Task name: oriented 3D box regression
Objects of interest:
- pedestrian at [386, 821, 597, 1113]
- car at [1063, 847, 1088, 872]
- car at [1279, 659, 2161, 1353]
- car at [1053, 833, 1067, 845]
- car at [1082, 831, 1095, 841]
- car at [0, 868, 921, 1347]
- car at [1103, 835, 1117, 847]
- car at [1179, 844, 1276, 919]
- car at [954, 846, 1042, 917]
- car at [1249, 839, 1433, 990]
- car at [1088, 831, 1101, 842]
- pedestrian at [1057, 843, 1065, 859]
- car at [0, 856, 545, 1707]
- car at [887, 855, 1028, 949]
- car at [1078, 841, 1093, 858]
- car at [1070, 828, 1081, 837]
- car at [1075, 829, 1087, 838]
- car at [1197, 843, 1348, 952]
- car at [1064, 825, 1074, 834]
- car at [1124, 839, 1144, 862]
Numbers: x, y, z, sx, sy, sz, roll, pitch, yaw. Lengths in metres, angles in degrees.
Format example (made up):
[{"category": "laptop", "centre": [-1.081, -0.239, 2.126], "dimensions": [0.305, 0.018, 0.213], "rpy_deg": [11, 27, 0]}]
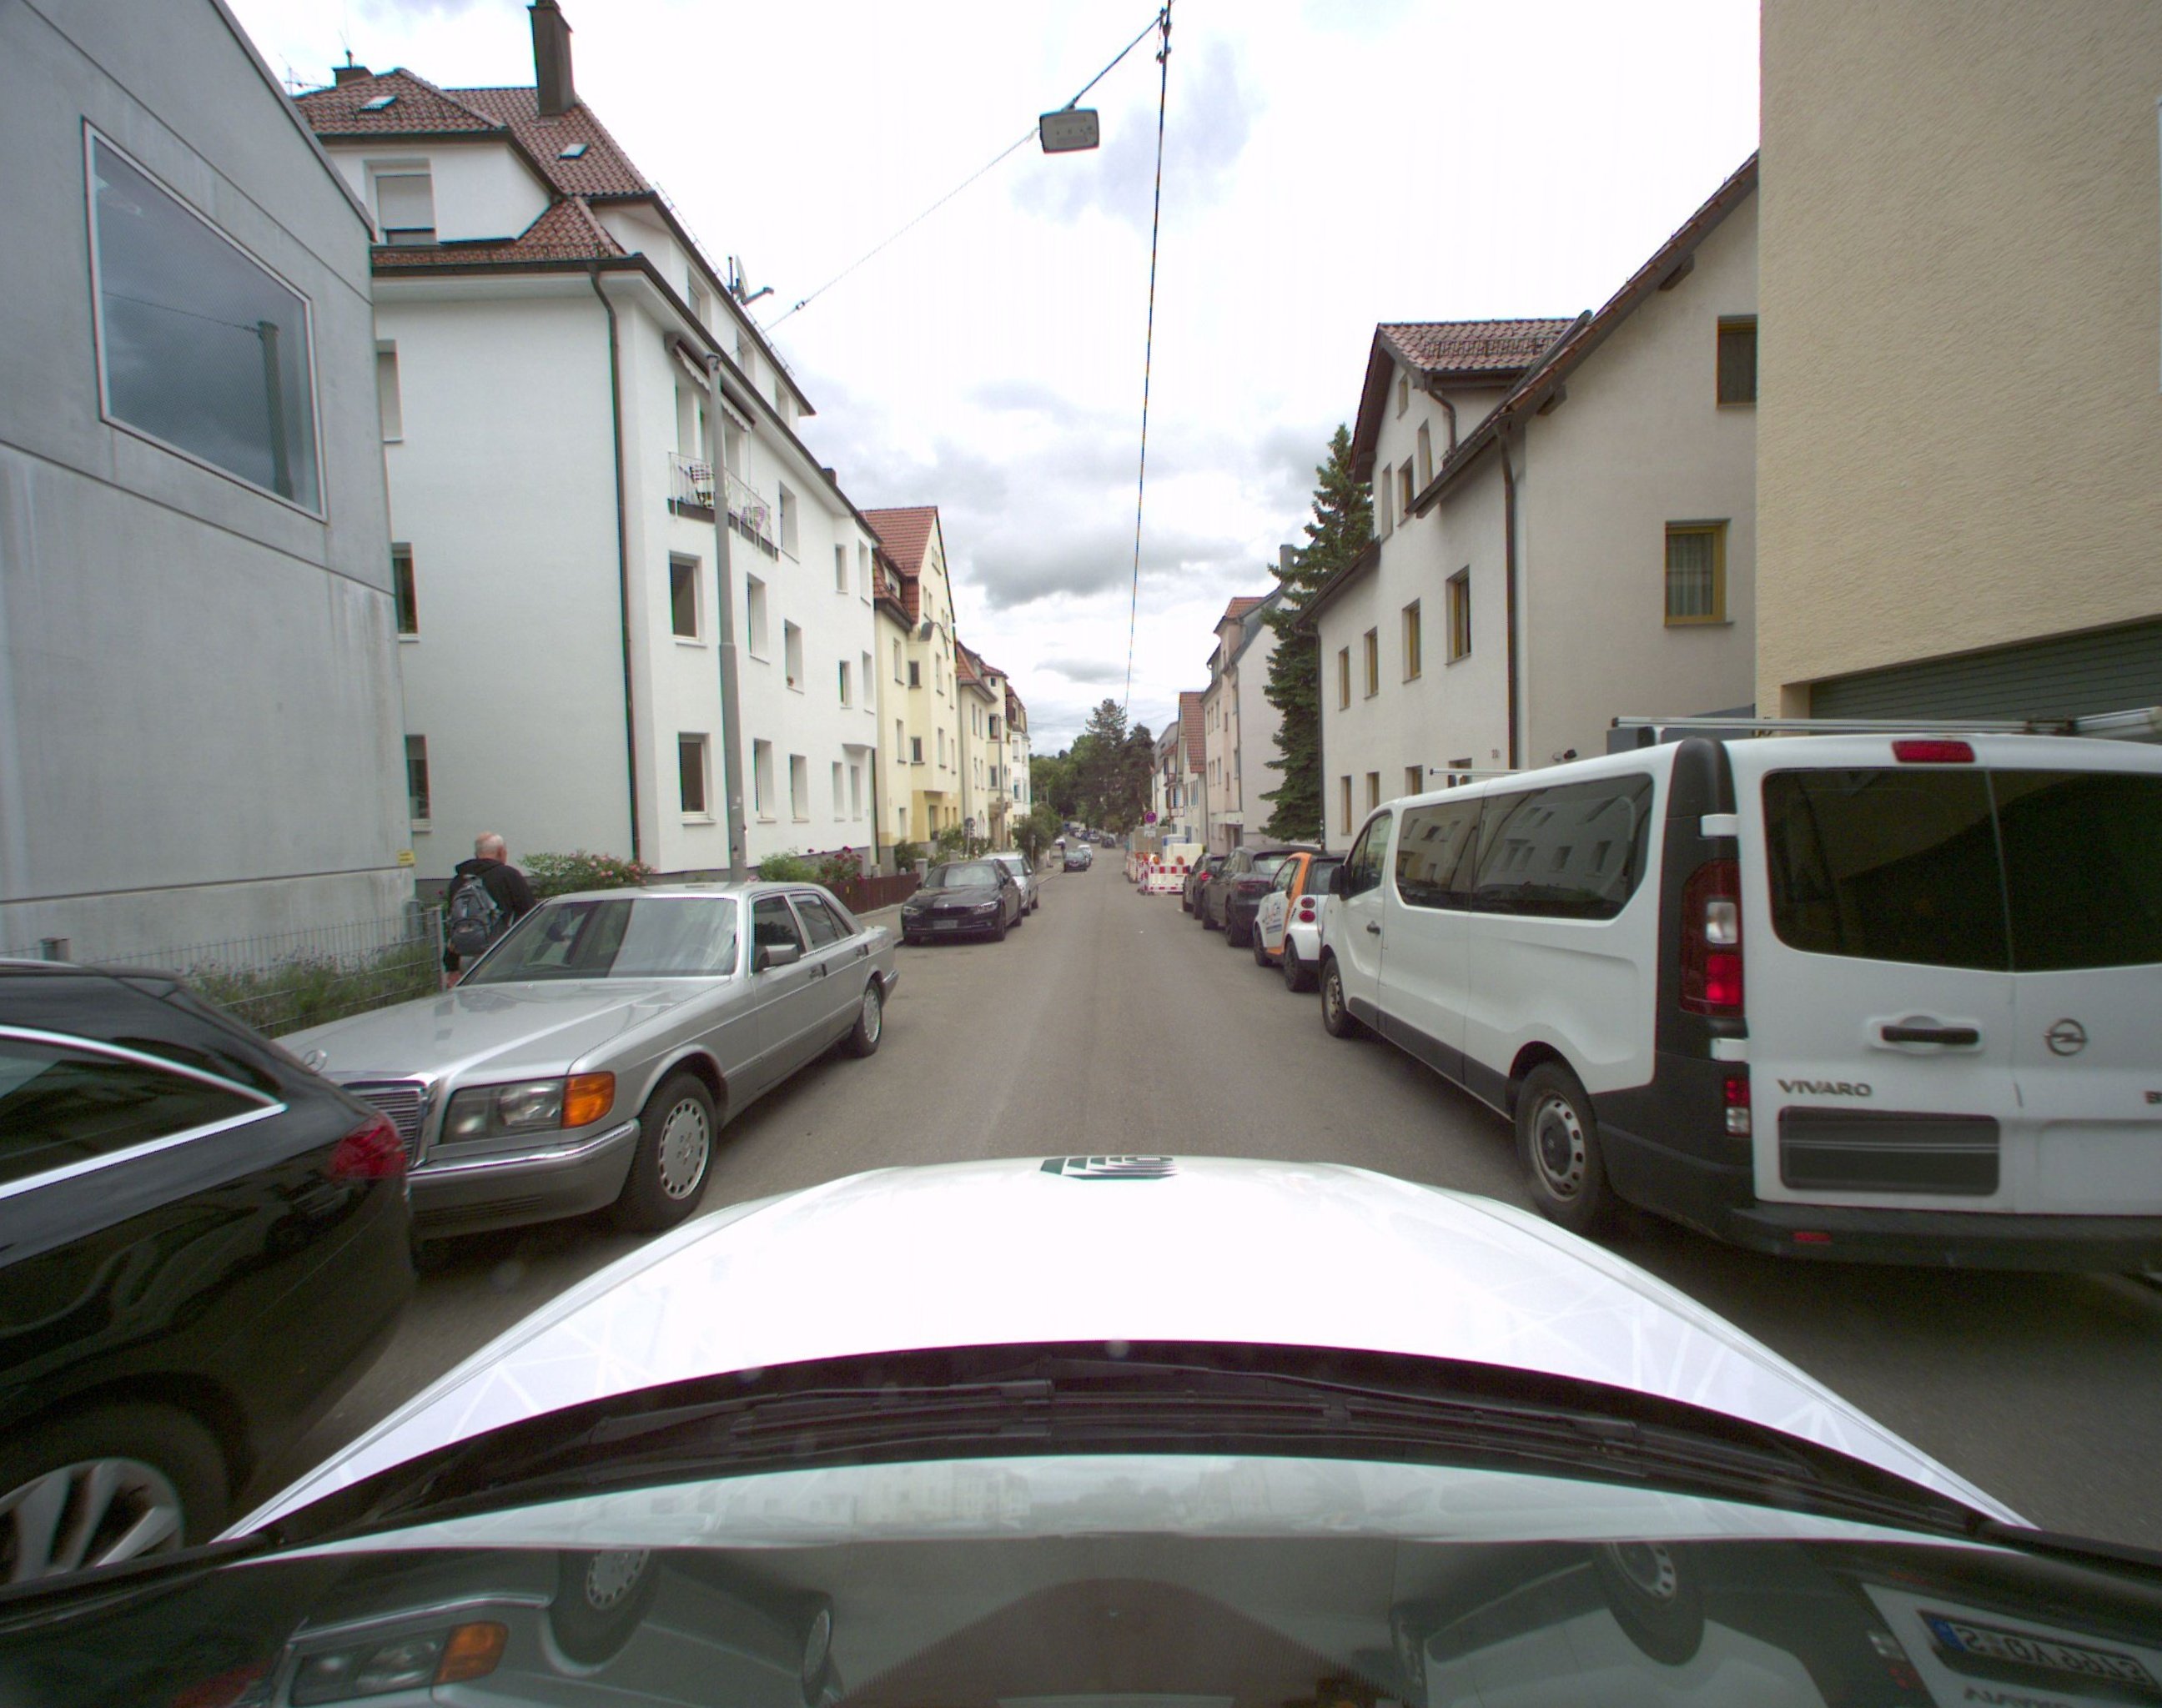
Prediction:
[{"category": "pedestrian", "centre": [-4.170, 0.732, 5.800], "dimensions": [0.809, 1.884, 0.852], "rpy_deg": [-2, 0, 24]}, {"category": "car", "centre": [-0.471, 0.401, 65.332], "dimensions": [1.840, 1.815, 4.542], "rpy_deg": [-3, 1, -1]}, {"category": "car", "centre": [2.850, 0.402, 5.245], "dimensions": [1.898, 2.029, 5.735], "rpy_deg": [0, 1, 2]}, {"category": "car", "centre": [-3.364, -2.443, 130.064], "dimensions": [1.673, 1.656, 3.849], "rpy_deg": [-3, 4, -11]}, {"category": "car", "centre": [1.283, -2.997, 137.255], "dimensions": [1.633, 1.483, 3.523], "rpy_deg": [-1, 4, -7]}, {"category": "car", "centre": [-2.548, 0.879, 5.196], "dimensions": [1.838, 1.413, 5.064], "rpy_deg": [-2, 0, 2]}, {"category": "car", "centre": [4.295, -1.965, 120.600], "dimensions": [1.632, 1.483, 3.524], "rpy_deg": [-1, 4, -6]}, {"category": "car", "centre": [3.356, 0.565, 19.363], "dimensions": [1.708, 1.565, 4.075], "rpy_deg": [0, 1, 2]}, {"category": "car", "centre": [-2.095, 0.676, 21.647], "dimensions": [1.839, 1.631, 4.285], "rpy_deg": [-2, 0, 0]}, {"category": "car", "centre": [3.031, 0.616, 10.001], "dimensions": [1.481, 1.596, 2.793], "rpy_deg": [0, 1, 2]}, {"category": "car", "centre": [2.205, -2.844, 132.500], "dimensions": [1.633, 1.483, 3.523], "rpy_deg": [-1, 4, -7]}, {"category": "pedestrian", "centre": [-2.436, -0.404, 98.046], "dimensions": [0.787, 1.932, 0.920], "rpy_deg": [-1, 1, 4]}, {"category": "car", "centre": [-2.596, 0.795, 0.227], "dimensions": [1.890, 1.527, 4.470], "rpy_deg": [-2, 0, 0]}, {"category": "car", "centre": [-2.198, 0.798, 15.788], "dimensions": [1.838, 1.457, 4.506], "rpy_deg": [-3, 0, 2]}, {"category": "car", "centre": [0.505, -0.516, 94.171], "dimensions": [1.666, 1.656, 3.865], "rpy_deg": [-3, 4, 1]}, {"category": "car", "centre": [-1.023, -3.995, 149.037], "dimensions": [1.633, 1.537, 3.523], "rpy_deg": [-1, 4, -7]}, {"category": "car", "centre": [0.015, -3.621, 143.182], "dimensions": [1.633, 1.537, 3.523], "rpy_deg": [-1, 4, -7]}, {"category": "car", "centre": [3.166, 0.612, 14.331], "dimensions": [1.707, 1.596, 4.500], "rpy_deg": [0, 1, 1]}, {"category": "car", "centre": [-2.493, -4.987, 163.786], "dimensions": [1.633, 1.537, 3.523], "rpy_deg": [-1, 4, -7]}, {"category": "car", "centre": [5.840, -0.418, 90.470], "dimensions": [1.973, 2.362, 4.278], "rpy_deg": [-2, 2, 1]}]
